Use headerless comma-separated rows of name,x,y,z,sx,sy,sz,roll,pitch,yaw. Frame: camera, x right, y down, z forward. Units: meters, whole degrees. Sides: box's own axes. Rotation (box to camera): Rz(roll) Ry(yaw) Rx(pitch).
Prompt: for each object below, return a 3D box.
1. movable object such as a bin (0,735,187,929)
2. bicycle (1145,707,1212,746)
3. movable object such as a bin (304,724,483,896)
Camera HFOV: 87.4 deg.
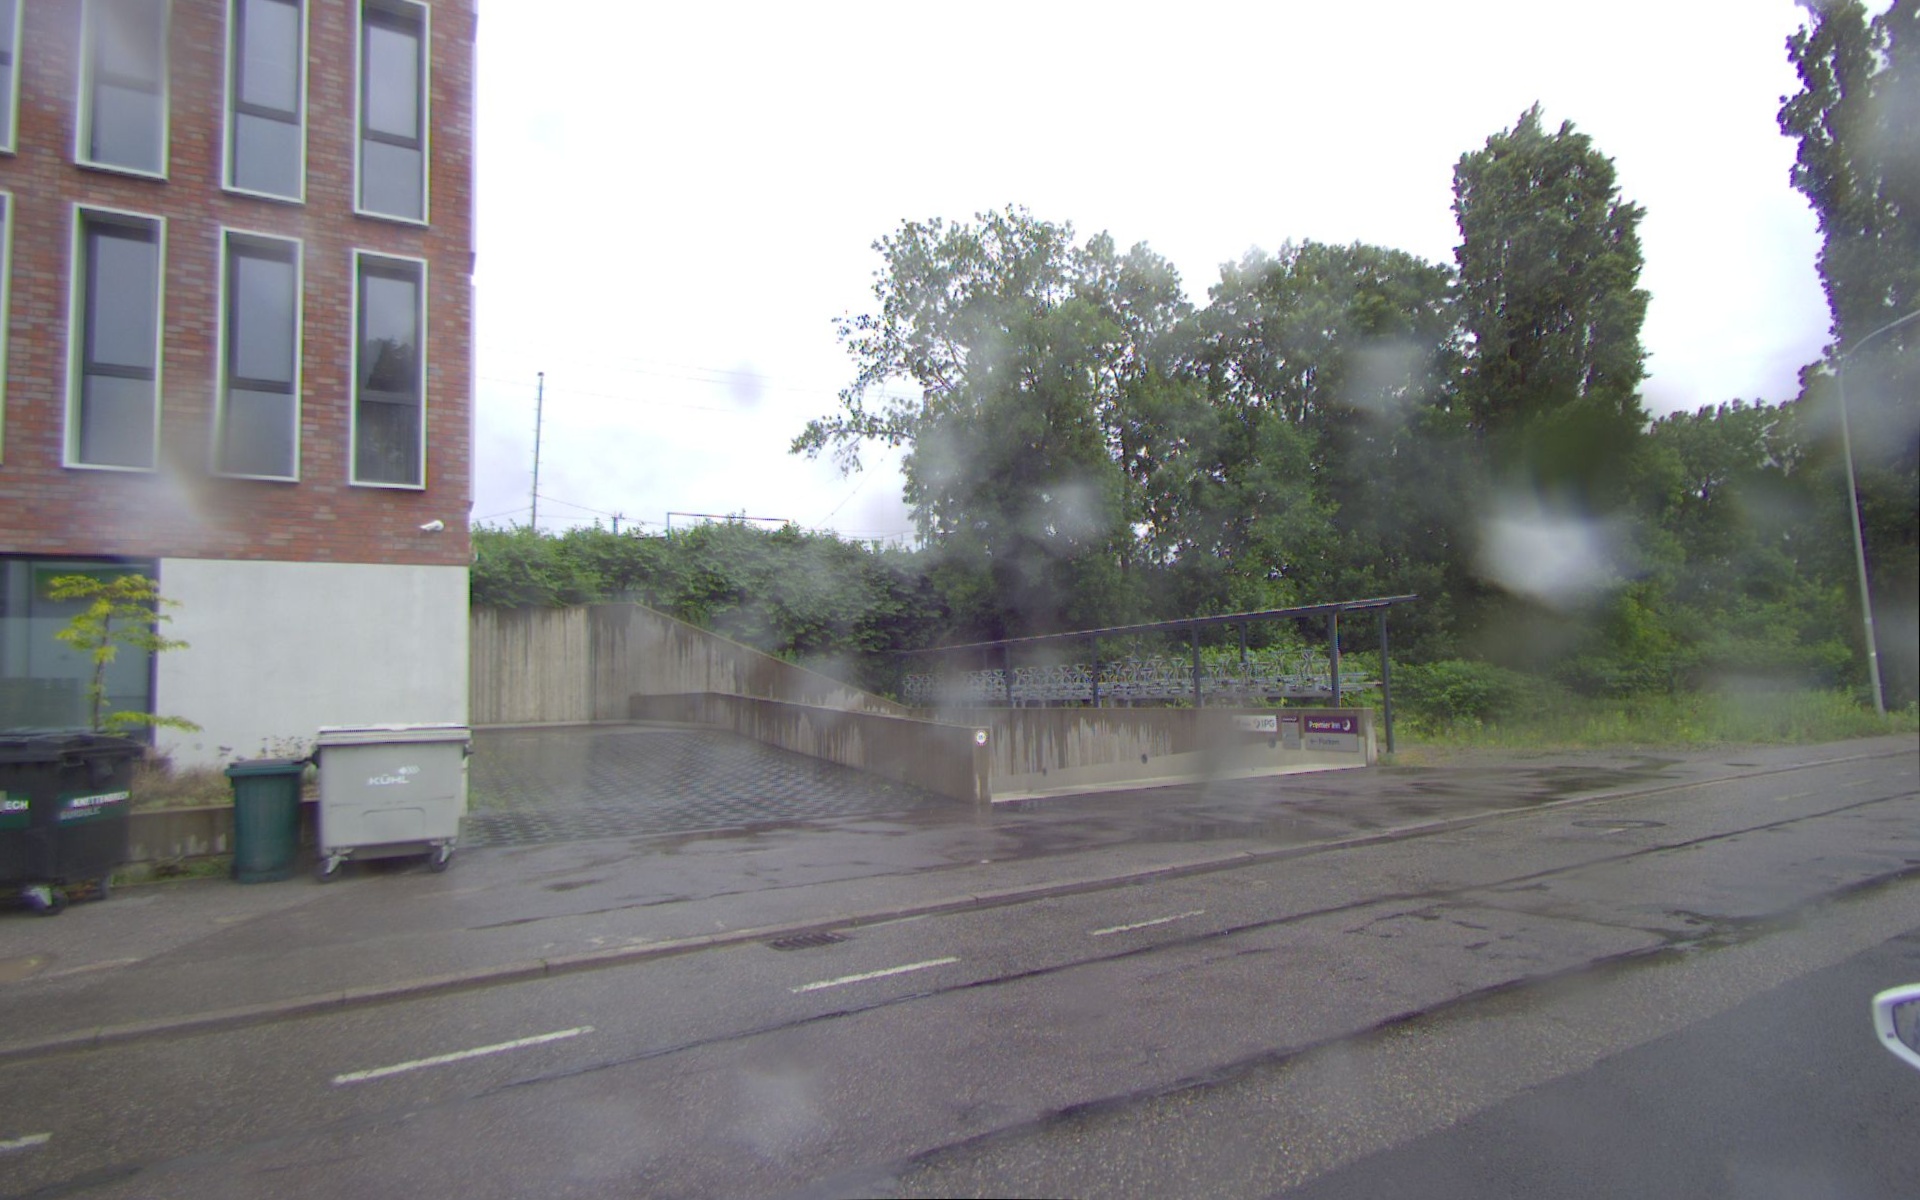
movable object such as a bin,-7.325,1.780,7.915,1.422,1.325,1.377,-1,-5,-10
bicycle,5.409,3.122,24.783,1.685,0.869,0.514,1,-7,-32
movable object such as a bin,-5.246,1.862,9.304,1.344,1.349,1.289,2,-6,-33
